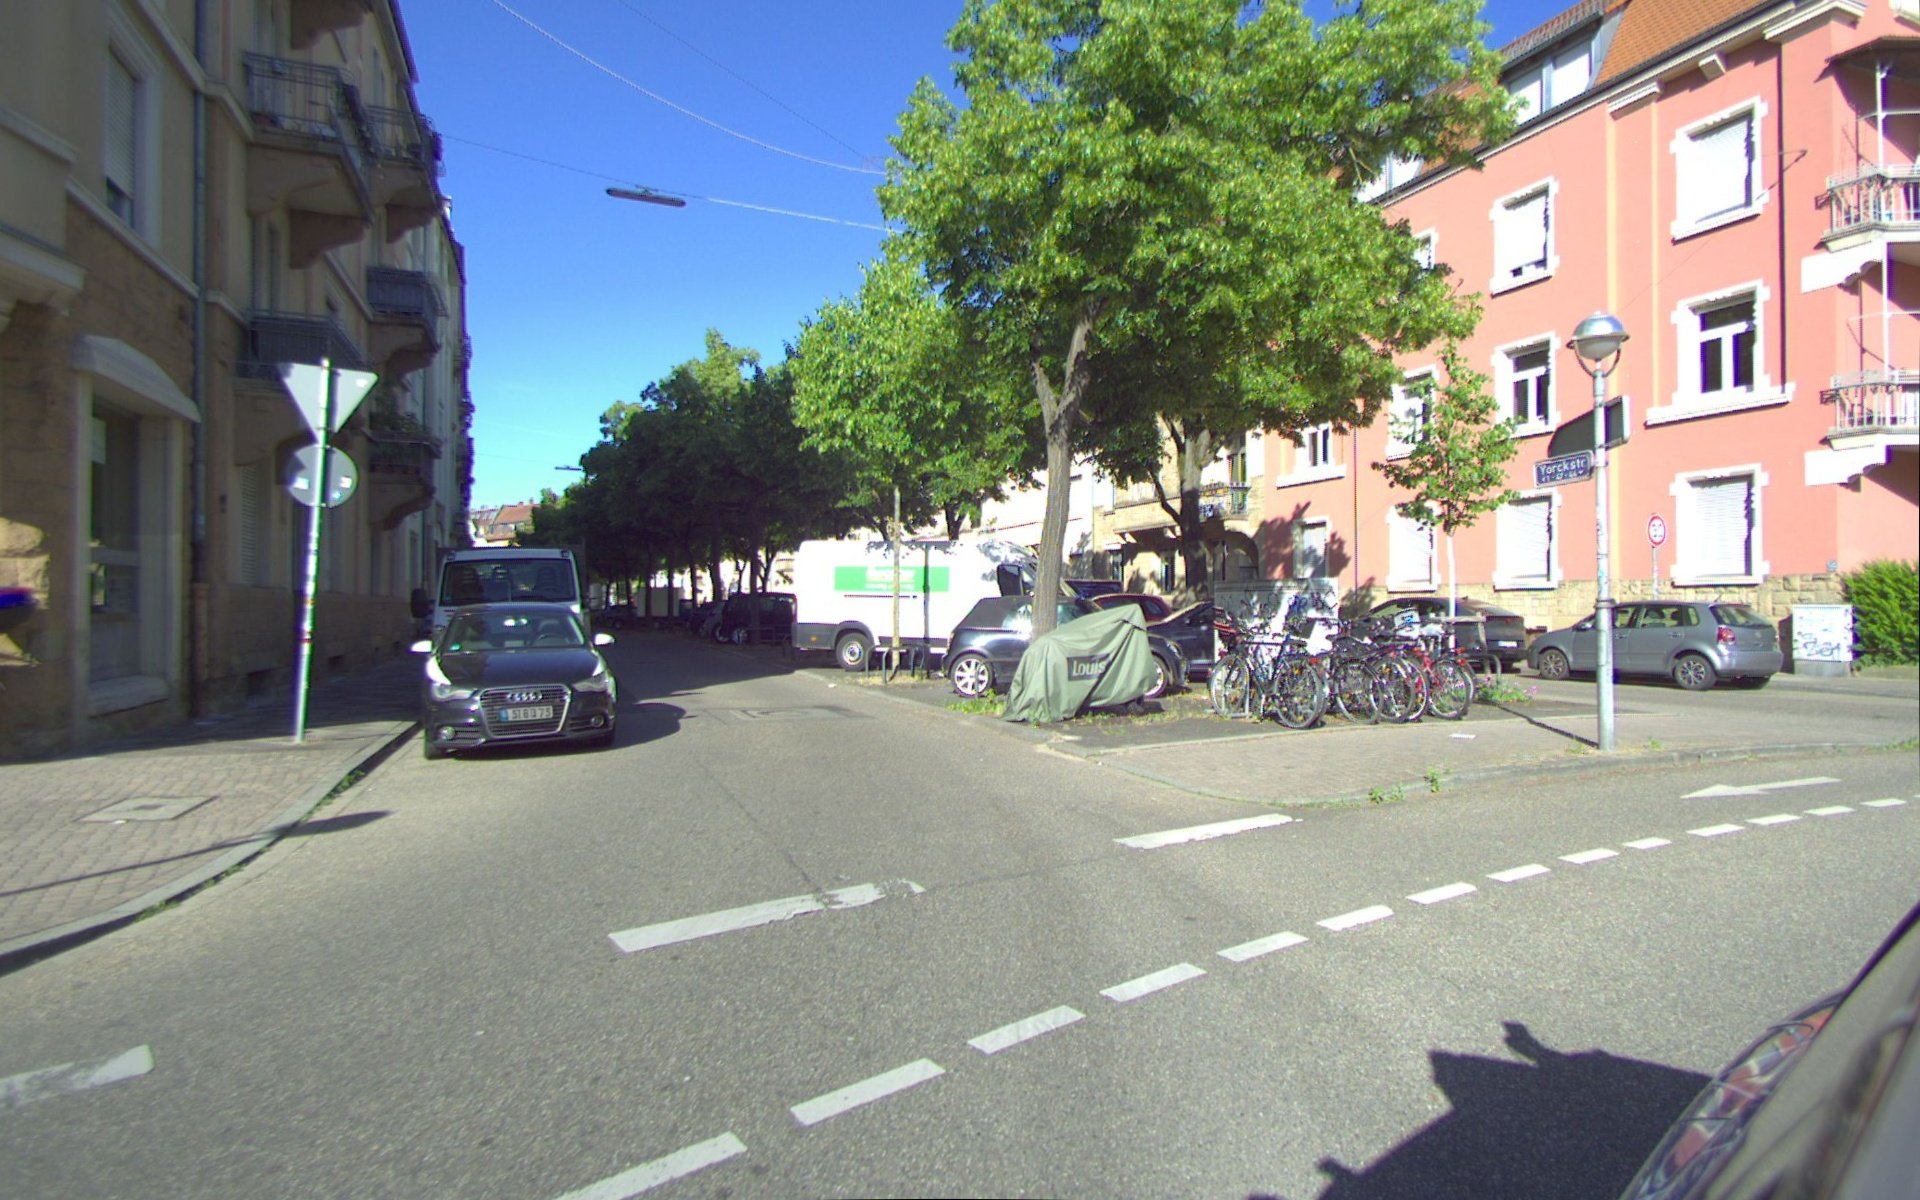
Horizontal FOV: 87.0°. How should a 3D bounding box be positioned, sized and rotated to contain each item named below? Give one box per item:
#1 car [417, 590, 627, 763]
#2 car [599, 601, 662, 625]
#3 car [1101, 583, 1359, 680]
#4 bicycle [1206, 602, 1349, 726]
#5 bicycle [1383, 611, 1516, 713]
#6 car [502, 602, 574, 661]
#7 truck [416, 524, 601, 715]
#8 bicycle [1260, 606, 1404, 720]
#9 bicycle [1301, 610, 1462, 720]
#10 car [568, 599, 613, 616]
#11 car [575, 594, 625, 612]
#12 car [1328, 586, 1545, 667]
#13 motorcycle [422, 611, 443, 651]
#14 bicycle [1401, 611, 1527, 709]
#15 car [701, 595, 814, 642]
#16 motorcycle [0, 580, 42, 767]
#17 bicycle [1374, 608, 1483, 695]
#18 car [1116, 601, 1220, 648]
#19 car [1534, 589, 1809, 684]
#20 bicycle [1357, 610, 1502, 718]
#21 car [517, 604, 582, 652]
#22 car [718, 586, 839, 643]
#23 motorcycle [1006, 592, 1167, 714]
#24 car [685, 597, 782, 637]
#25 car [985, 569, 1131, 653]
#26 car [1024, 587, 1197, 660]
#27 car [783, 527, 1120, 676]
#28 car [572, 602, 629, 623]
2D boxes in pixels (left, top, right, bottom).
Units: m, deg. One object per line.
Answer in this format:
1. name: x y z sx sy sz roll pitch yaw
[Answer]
1. car: -4.602 0.634 10.539 1.653 1.407 3.928 -1 0 -26
2. car: -22.931 0.899 70.500 3.860 1.594 1.682 -2 -1 12
3. car: 4.369 0.497 16.829 3.850 1.465 1.686 1 -1 3
4. bicycle: 3.374 0.636 10.918 0.527 1.208 1.683 1 0 -21
5. bicycle: 5.793 0.702 12.068 0.410 1.103 1.577 1 0 -19
6. car: -11.242 0.767 27.100 1.653 1.407 4.010 -1 0 -21
7. truck: -6.991 0.216 15.783 2.095 2.321 6.632 -1 0 -24
8. bicycle: 4.080 0.655 11.229 0.577 1.141 1.605 1 0 -21
9. bicycle: 4.713 0.690 11.445 0.643 1.102 1.733 1 0 -21
10. car: -36.388 0.716 99.689 3.917 1.529 1.803 -1 -1 -10
11. car: -32.447 0.307 91.295 3.924 1.529 1.800 -1 -1 0
12. car: 10.234 0.545 22.106 1.653 1.582 4.303 1 -1 -22
13. motorcycle: -15.726 0.897 30.197 0.490 1.121 1.803 -1 0 -26
14. bicycle: 6.149 0.705 12.431 0.410 1.100 1.530 1 0 -19
15. car: -6.804 0.622 34.191 3.433 1.477 1.686 1 -1 3
16. motorcycle: -8.144 0.530 7.233 0.696 1.429 2.220 1 -1 37
17. bicycle: 6.398 0.683 13.902 0.410 1.100 1.530 1 0 -19
18. car: 6.493 0.749 31.868 1.653 1.399 3.287 1 -1 -22
19. car: 12.119 0.578 17.488 1.653 1.465 3.553 1 -1 -22
20. bicycle: 5.354 0.691 11.646 0.489 1.116 1.653 1 0 -19
21. car: -13.155 0.845 32.332 1.653 1.407 3.928 -1 0 -26
22. car: -5.678 0.459 31.829 3.433 1.686 1.686 1 -1 3
23. motorcycle: 1.399 0.576 11.237 1.675 1.286 0.539 1 0 -17
24. car: -9.015 0.660 40.356 3.433 1.477 1.686 1 -1 3
25. car: 2.332 0.255 24.126 3.326 1.889 1.684 1 -1 7
26. car: 3.180 0.496 21.742 3.314 1.465 1.690 1 -1 -8
27. car: -0.173 -0.012 19.901 6.294 2.633 2.090 1 -1 19
28. car: -28.900 1.003 81.390 3.937 1.529 1.794 -2 -1 12
